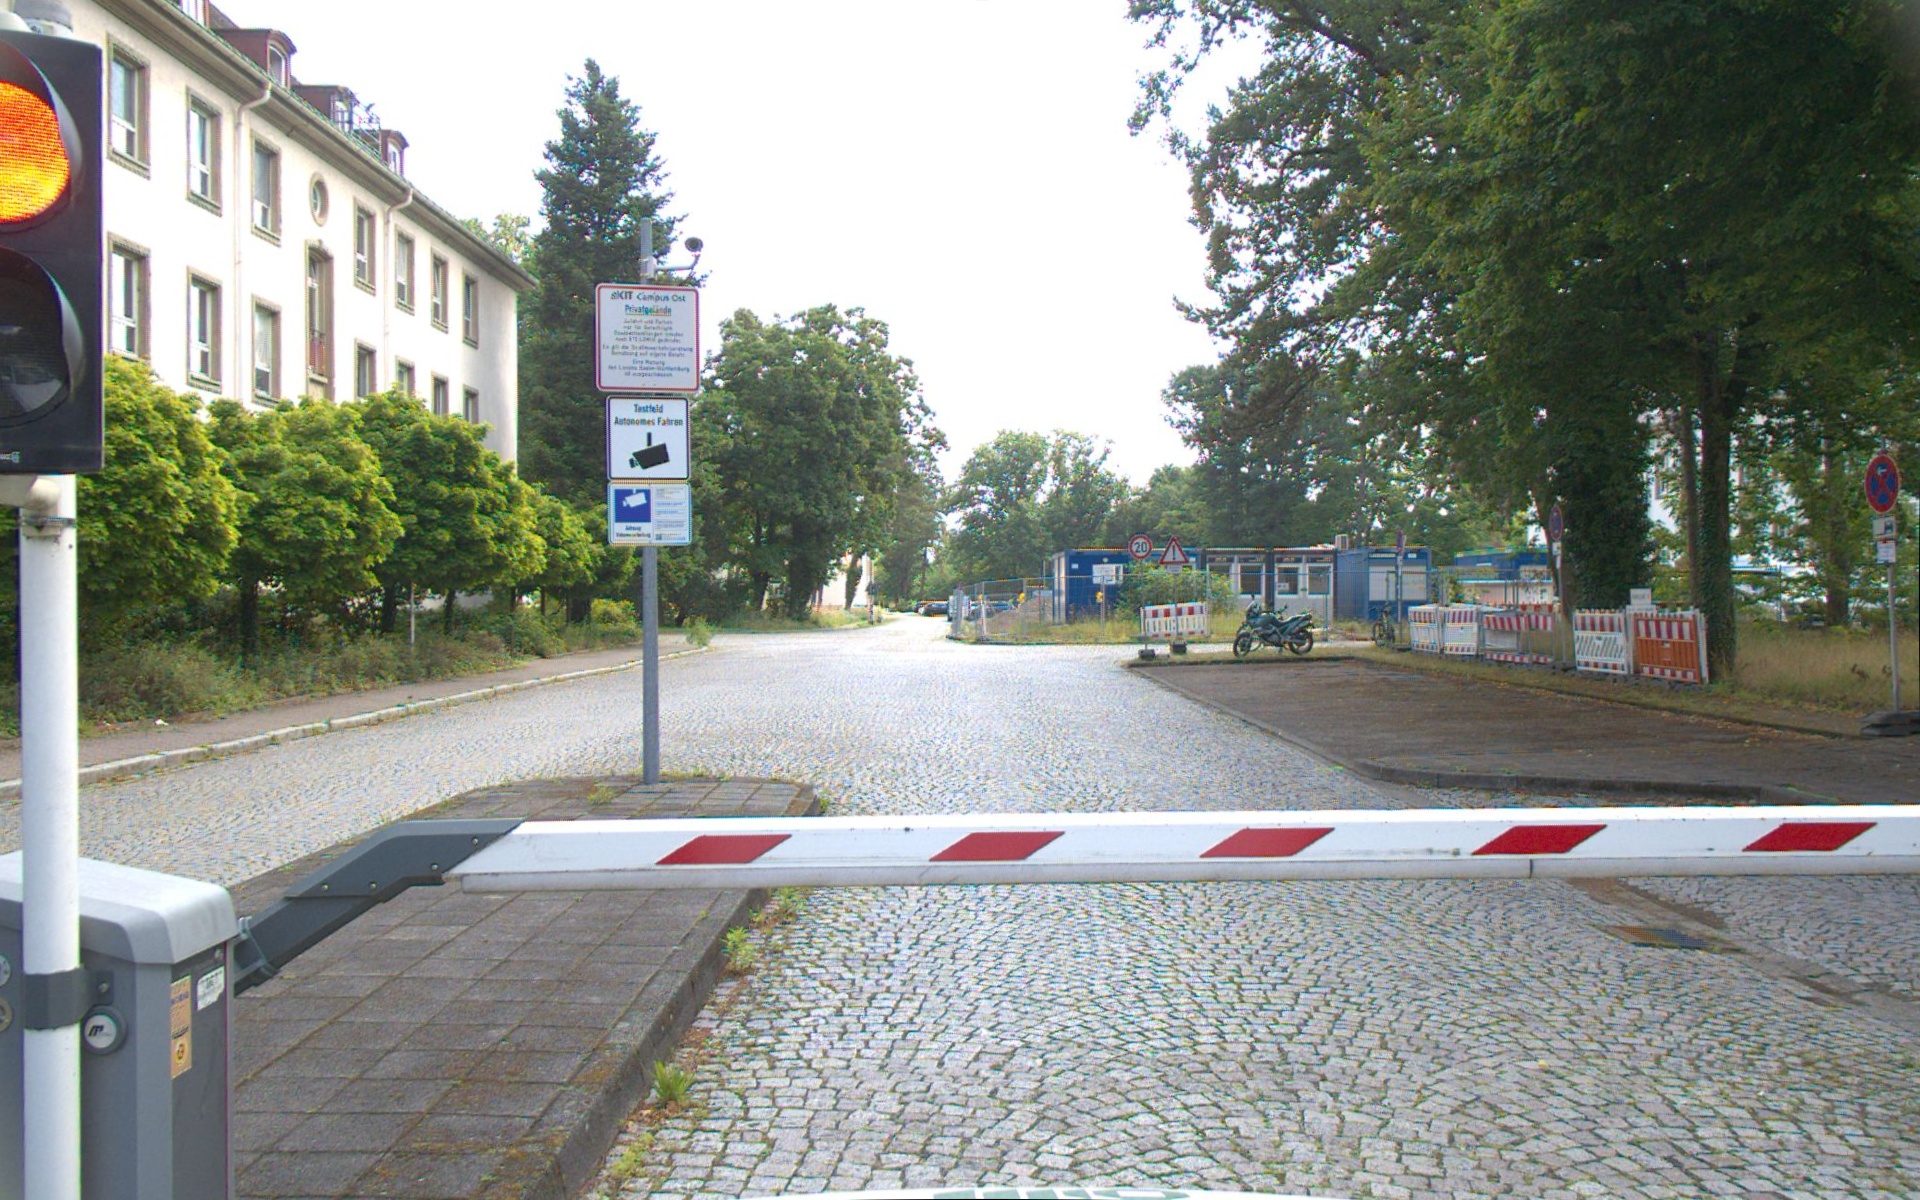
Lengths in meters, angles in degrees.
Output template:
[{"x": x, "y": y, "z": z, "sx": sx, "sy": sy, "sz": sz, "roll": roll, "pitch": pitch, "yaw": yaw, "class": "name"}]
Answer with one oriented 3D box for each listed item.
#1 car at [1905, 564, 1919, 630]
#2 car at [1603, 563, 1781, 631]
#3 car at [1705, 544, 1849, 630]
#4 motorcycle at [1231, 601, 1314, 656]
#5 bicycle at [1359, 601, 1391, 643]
[{"x": 26.261, "y": -0.110, "z": 40.852, "sx": 1.971, "sy": 1.679, "sz": 4.795, "roll": 0, "pitch": -1, "yaw": -28, "class": "car"}, {"x": 20.564, "y": -0.069, "z": 46.587, "sx": 4.132, "sy": 1.852, "sz": 2.000, "roll": 0, "pitch": -1, "yaw": 2, "class": "car"}, {"x": 24.749, "y": -0.332, "z": 50.331, "sx": 1.952, "sy": 2.466, "sz": 5.358, "roll": 0, "pitch": -1, "yaw": 3, "class": "car"}, {"x": 7.605, "y": 0.683, "z": 40.227, "sx": 1.917, "sy": 1.215, "sz": 0.461, "roll": -2, "pitch": 5, "yaw": -2, "class": "motorcycle"}, {"x": 10.492, "y": 0.563, "z": 41.809, "sx": 0.325, "sy": 1.025, "sz": 1.725, "roll": -1, "pitch": -2, "yaw": -1, "class": "bicycle"}]
